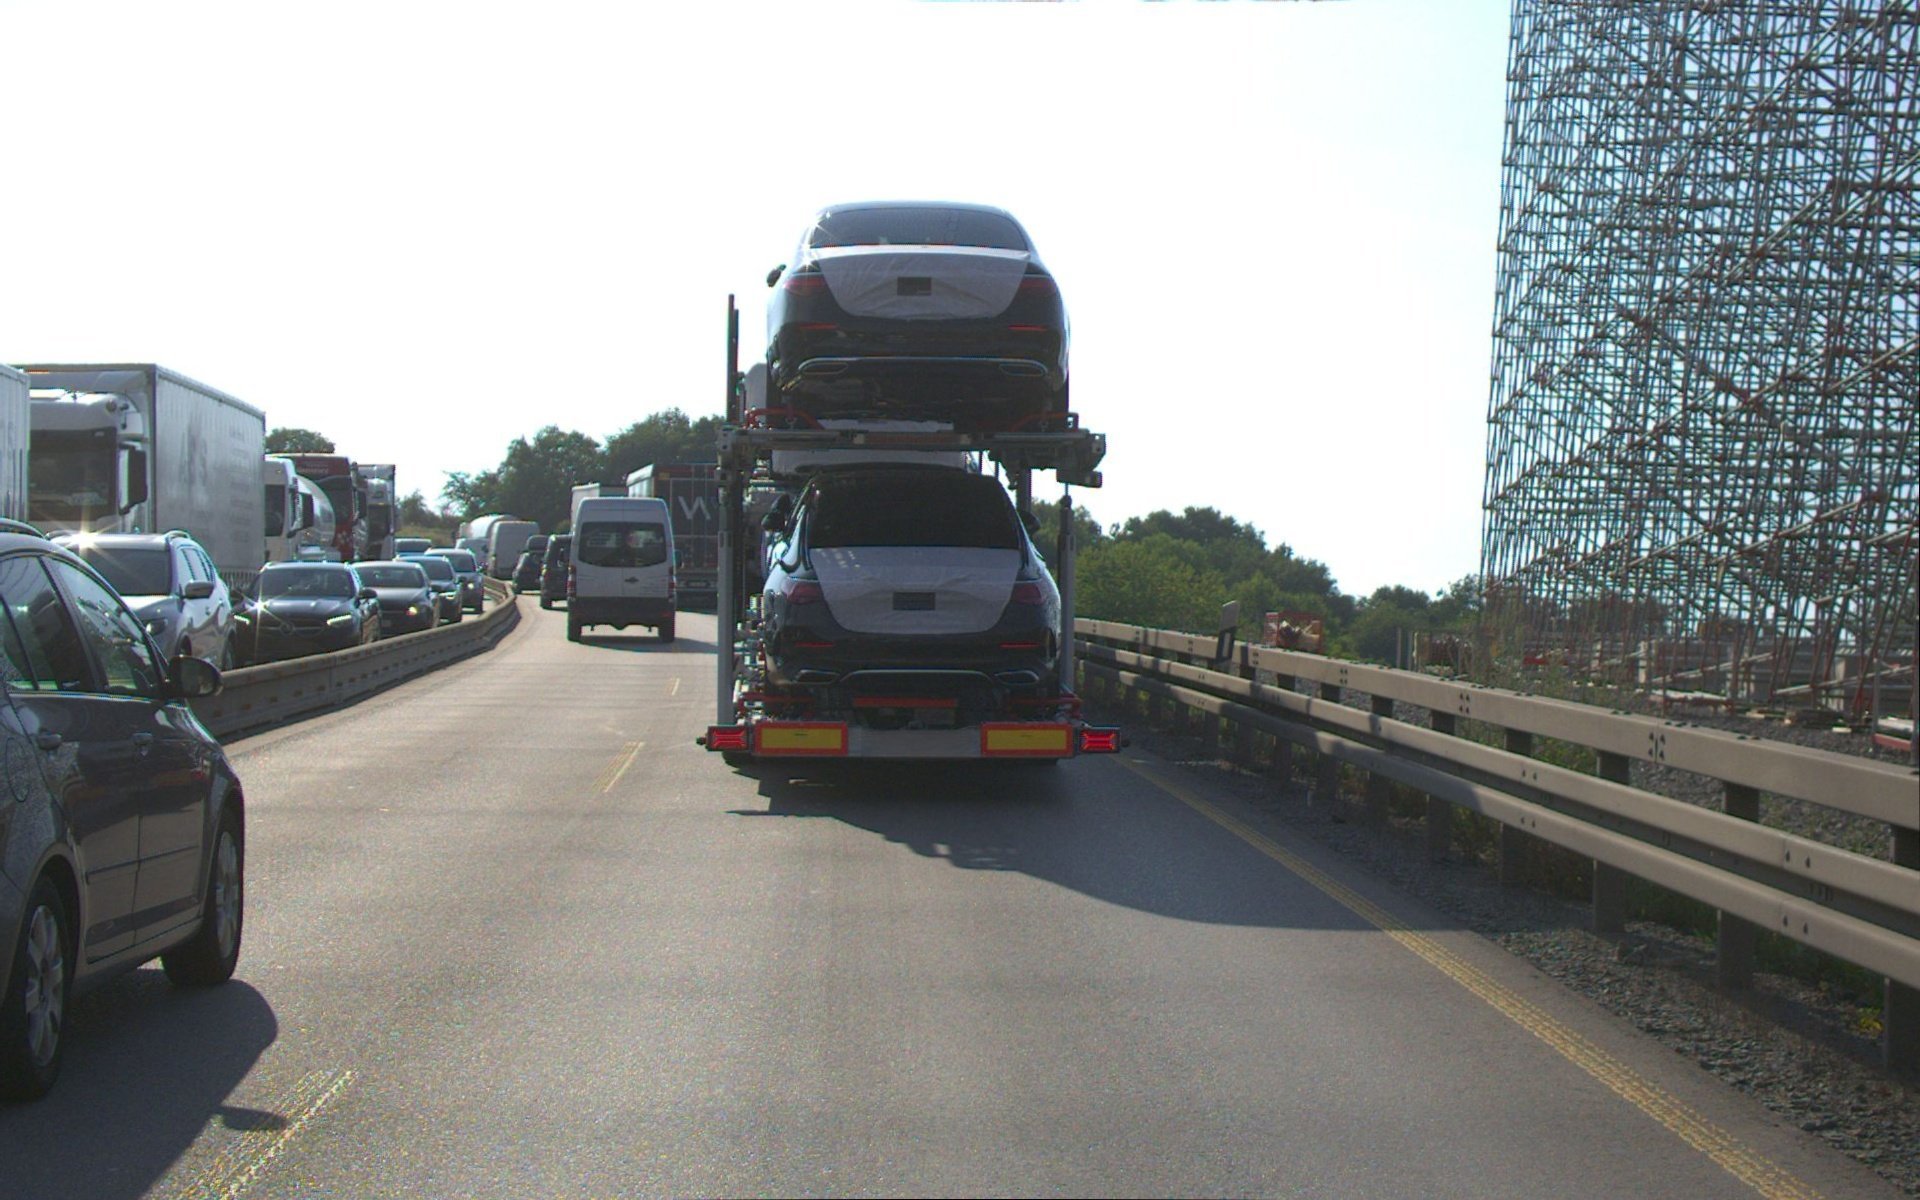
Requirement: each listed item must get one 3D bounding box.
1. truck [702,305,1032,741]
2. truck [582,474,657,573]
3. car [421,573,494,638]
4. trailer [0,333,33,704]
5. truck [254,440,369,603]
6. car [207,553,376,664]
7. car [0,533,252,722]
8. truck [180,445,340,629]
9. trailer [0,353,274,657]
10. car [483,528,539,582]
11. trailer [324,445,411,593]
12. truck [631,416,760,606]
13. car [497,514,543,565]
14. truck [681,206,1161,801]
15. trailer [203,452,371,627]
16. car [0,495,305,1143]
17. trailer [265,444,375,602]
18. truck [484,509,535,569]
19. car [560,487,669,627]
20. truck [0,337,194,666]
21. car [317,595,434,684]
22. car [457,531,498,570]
[{"bbox_3d":[-1.022,-0.718,35.086,2.838,3.779,9.988,1,1,-2],"label":"truck"},{"bbox_3d":[-13.094,-2.876,131.633,2.530,3.635,8.907,1,1,-7],"label":"truck"},{"bbox_3d":[-12.630,0.124,86.492,1.750,1.581,3.944,1,1,-8],"label":"car"},{"bbox_3d":[-11.352,-0.841,32.151,2.669,4.002,13.335,1,1,-4],"label":"trailer"},{"bbox_3d":[-15.596,-1.862,82.939,2.432,3.772,5.619,1,0,-8],"label":"truck"},{"bbox_3d":[-9.196,0.089,47.571,1.777,1.445,4.664,1,1,-5],"label":"car"},{"bbox_3d":[-7.597,0.207,30.952,1.808,1.563,4.366,1,1,-4],"label":"car"},{"bbox_3d":[-13.386,-1.181,66.106,2.413,3.358,5.618,1,0,-6],"label":"truck"},{"bbox_3d":[-12.346,-1.319,52.072,2.427,3.949,14.101,1,1,-6],"label":"trailer"},{"bbox_3d":[-15.328,-1.528,117.190,1.826,1.766,4.001,1,1,-8],"label":"car"},{"bbox_3d":[-18.309,-2.436,106.492,2.475,4.314,10.514,1,1,-9],"label":"trailer"},{"bbox_3d":[-7.802,-2.511,100.294,3.285,5.219,9.938,1,0,-7],"label":"truck"},{"bbox_3d":[-17.564,-2.395,137.043,1.629,2.007,4.001,1,1,-10],"label":"car"},{"bbox_3d":[-0.451,-0.621,25.674,2.799,3.485,10.606,1,1,-2],"label":"truck"},{"bbox_3d":[-14.056,-1.236,72.516,2.306,3.350,12.055,1,1,-6],"label":"trailer"},{"bbox_3d":[-3.202,0.510,10.356,1.691,1.590,4.000,1,1,0],"label":"car"},{"bbox_3d":[-16.460,-1.930,88.971,2.306,3.777,12.055,1,1,-8],"label":"trailer"},{"bbox_3d":[-24.219,-3.271,185.096,2.590,3.159,6.678,1,1,-6],"label":"truck"},{"bbox_3d":[-6.498,-0.802,64.395,1.920,2.484,5.410,1,1,-6],"label":"car"},{"bbox_3d":[-11.692,-1.246,45.111,2.473,4.032,5.618,1,0,-5],"label":"truck"},{"bbox_3d":[-9.670,0.636,57.066,1.607,1.371,3.901,1,1,-5],"label":"car"},{"bbox_3d":[-23.135,-2.355,165.059,1.837,1.829,4.001,1,1,-7],"label":"car"}]
